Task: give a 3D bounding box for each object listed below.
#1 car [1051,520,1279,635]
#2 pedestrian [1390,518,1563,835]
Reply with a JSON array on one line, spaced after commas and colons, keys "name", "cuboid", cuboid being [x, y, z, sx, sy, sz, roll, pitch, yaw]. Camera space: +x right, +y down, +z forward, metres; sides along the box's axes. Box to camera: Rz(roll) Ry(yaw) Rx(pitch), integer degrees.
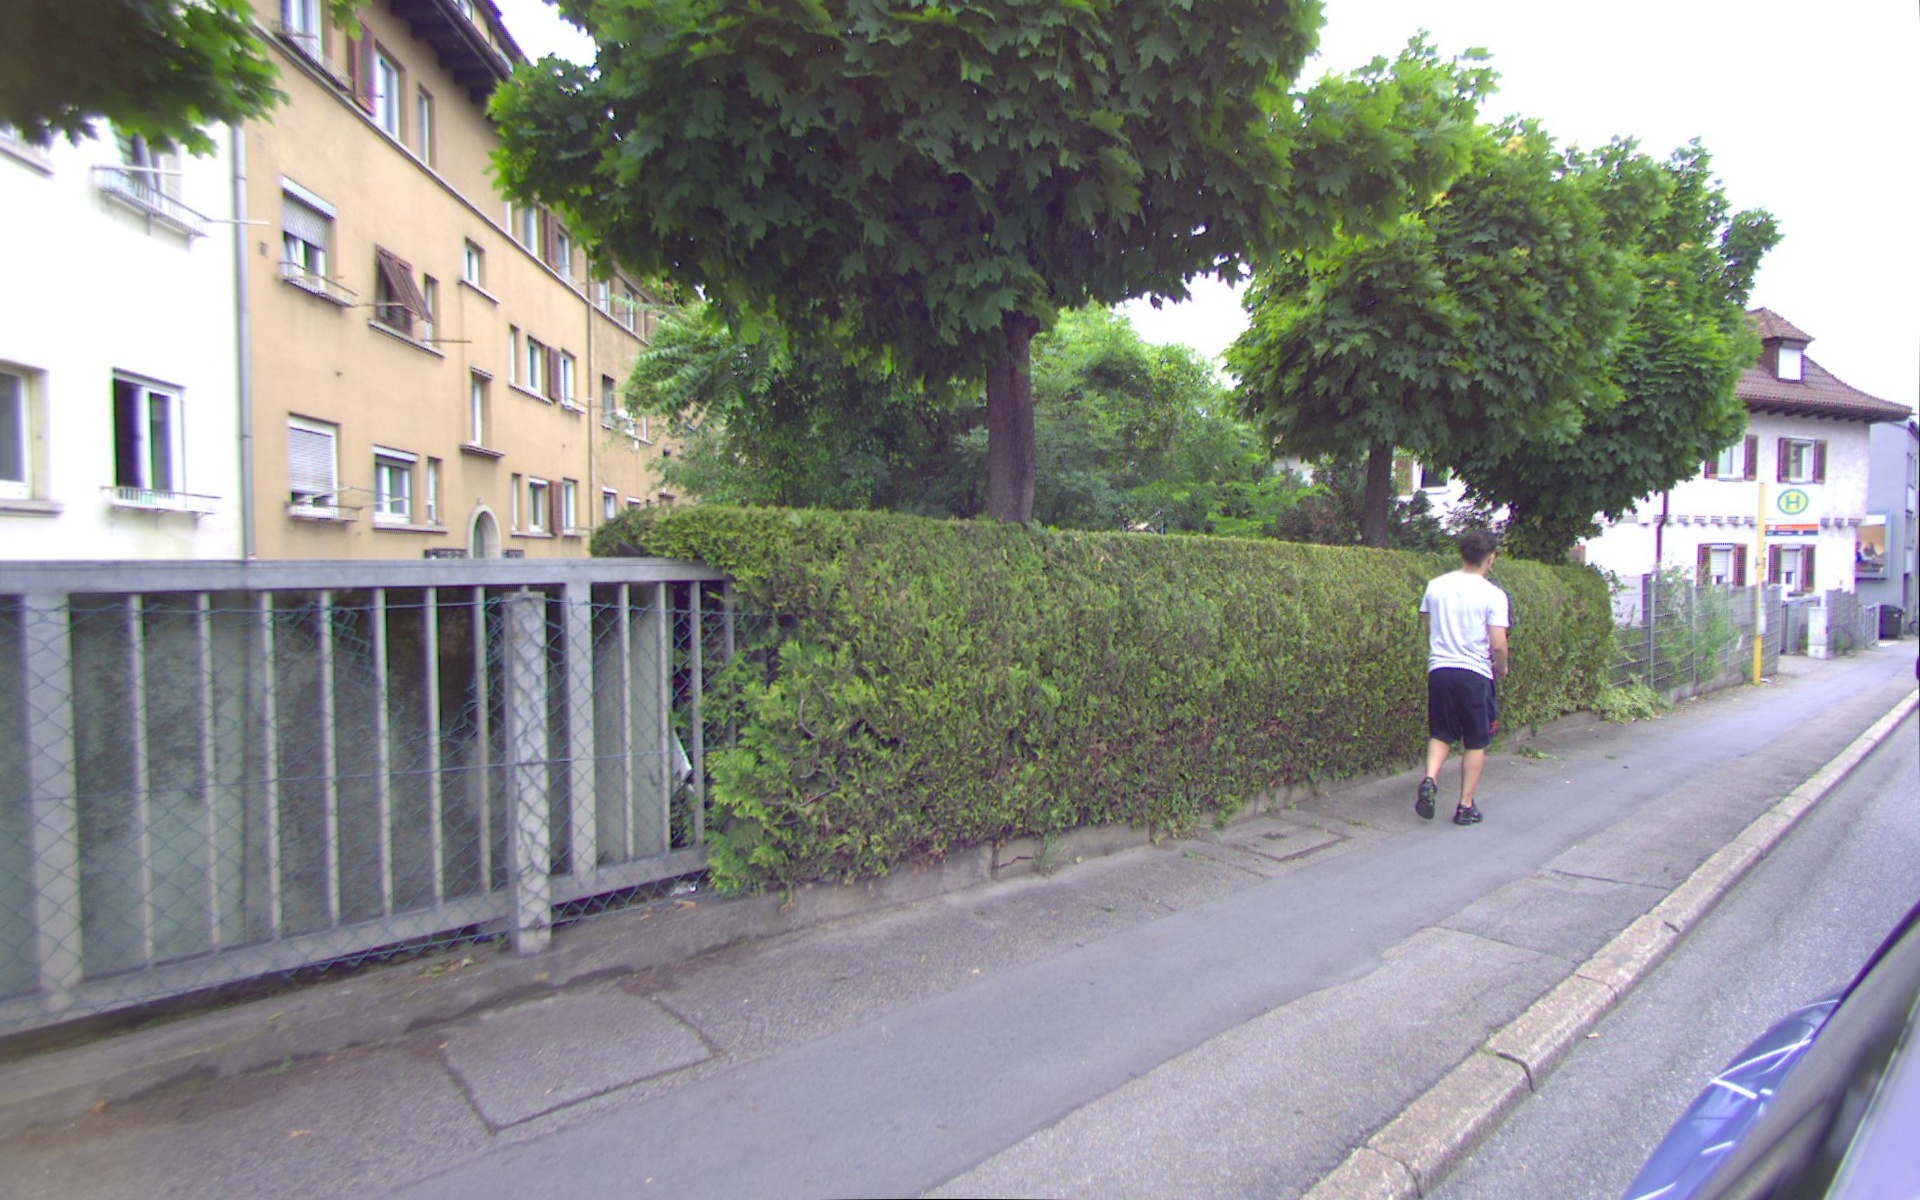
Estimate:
[{"name": "car", "cuboid": [3.850, -0.424, 19.576, 3.923, 2.039, 2.001, 1, 1, -1]}, {"name": "pedestrian", "cuboid": [3.073, 0.410, 6.051, 0.459, 1.758, 0.695, 0, 4, -42]}]
